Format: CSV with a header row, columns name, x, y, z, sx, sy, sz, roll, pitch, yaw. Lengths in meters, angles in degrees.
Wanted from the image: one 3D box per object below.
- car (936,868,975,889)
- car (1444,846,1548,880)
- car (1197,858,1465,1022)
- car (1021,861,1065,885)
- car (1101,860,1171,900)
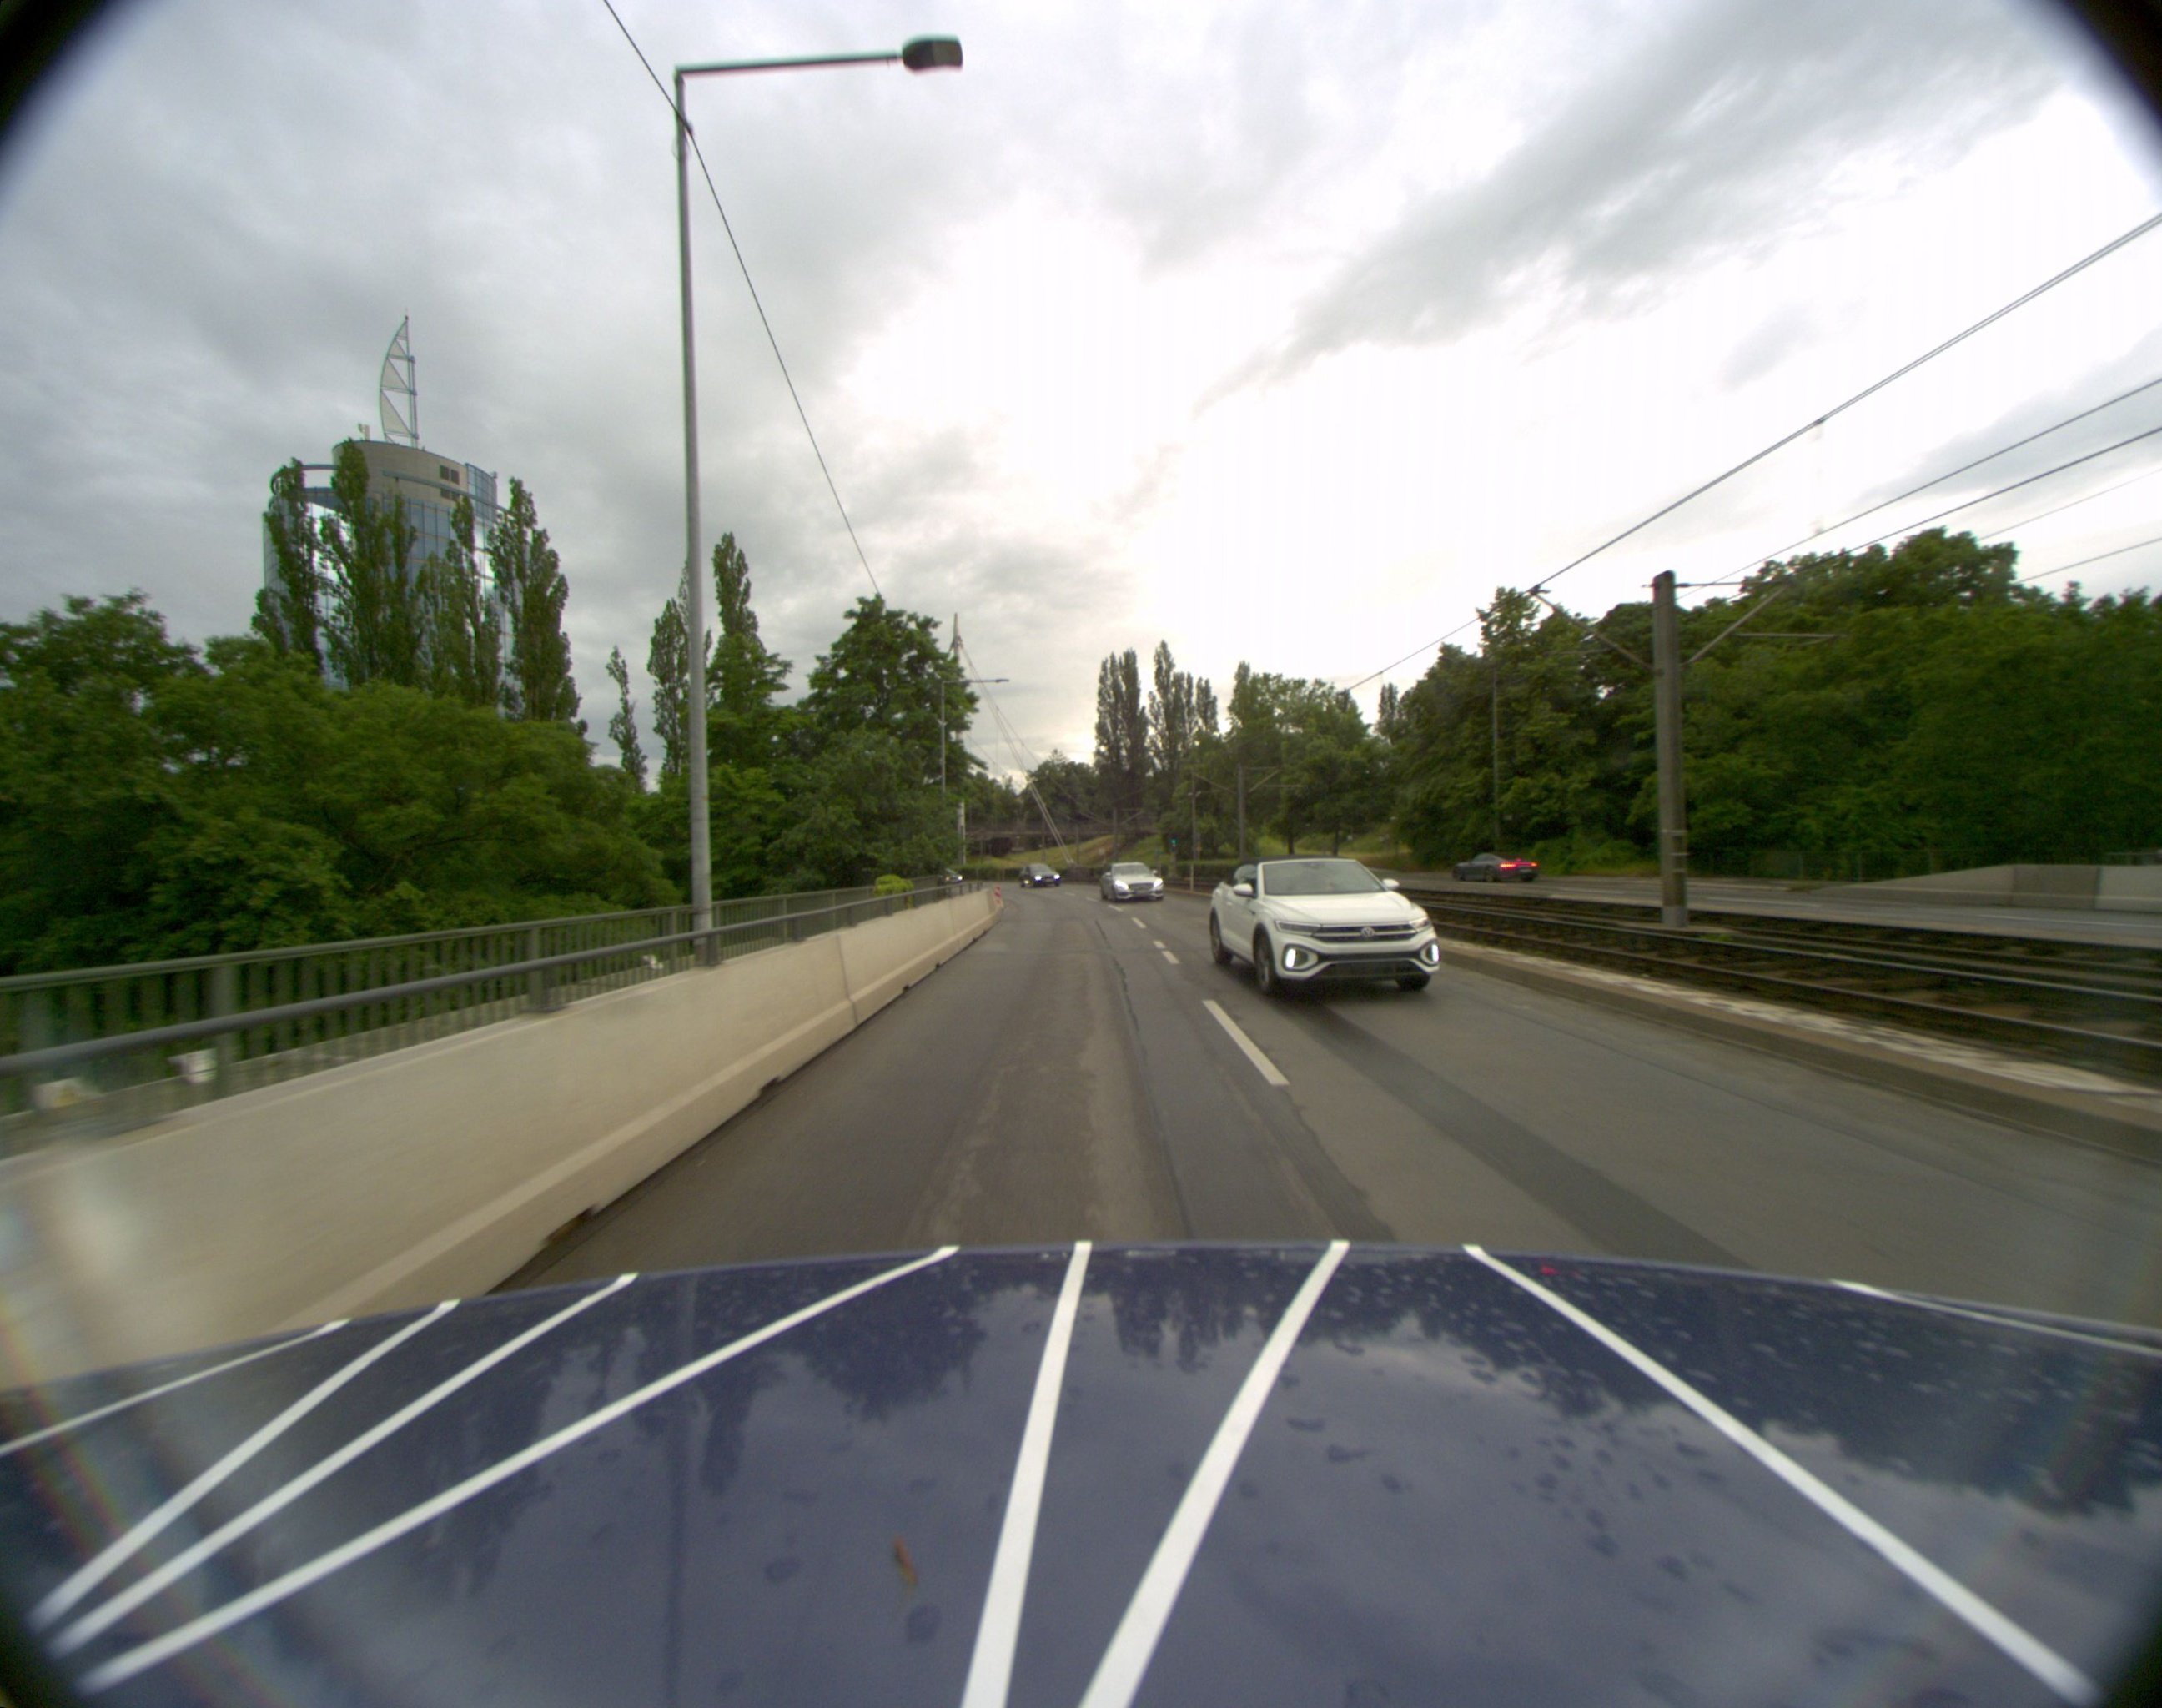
name,x,y,z,sx,sy,sz,roll,pitch,yaw
car,-9.829,1.910,59.392,1.772,1.492,3.991,-2,0,-29
car,18.372,0.412,33.885,1.842,1.306,4.618,-4,0,-3
car,2.796,0.853,9.692,1.876,1.515,4.540,-2,0,0
car,-2.437,1.173,48.273,1.738,1.344,3.993,-2,0,-19
car,1.999,0.916,28.727,1.873,1.348,4.057,-1,0,-7
